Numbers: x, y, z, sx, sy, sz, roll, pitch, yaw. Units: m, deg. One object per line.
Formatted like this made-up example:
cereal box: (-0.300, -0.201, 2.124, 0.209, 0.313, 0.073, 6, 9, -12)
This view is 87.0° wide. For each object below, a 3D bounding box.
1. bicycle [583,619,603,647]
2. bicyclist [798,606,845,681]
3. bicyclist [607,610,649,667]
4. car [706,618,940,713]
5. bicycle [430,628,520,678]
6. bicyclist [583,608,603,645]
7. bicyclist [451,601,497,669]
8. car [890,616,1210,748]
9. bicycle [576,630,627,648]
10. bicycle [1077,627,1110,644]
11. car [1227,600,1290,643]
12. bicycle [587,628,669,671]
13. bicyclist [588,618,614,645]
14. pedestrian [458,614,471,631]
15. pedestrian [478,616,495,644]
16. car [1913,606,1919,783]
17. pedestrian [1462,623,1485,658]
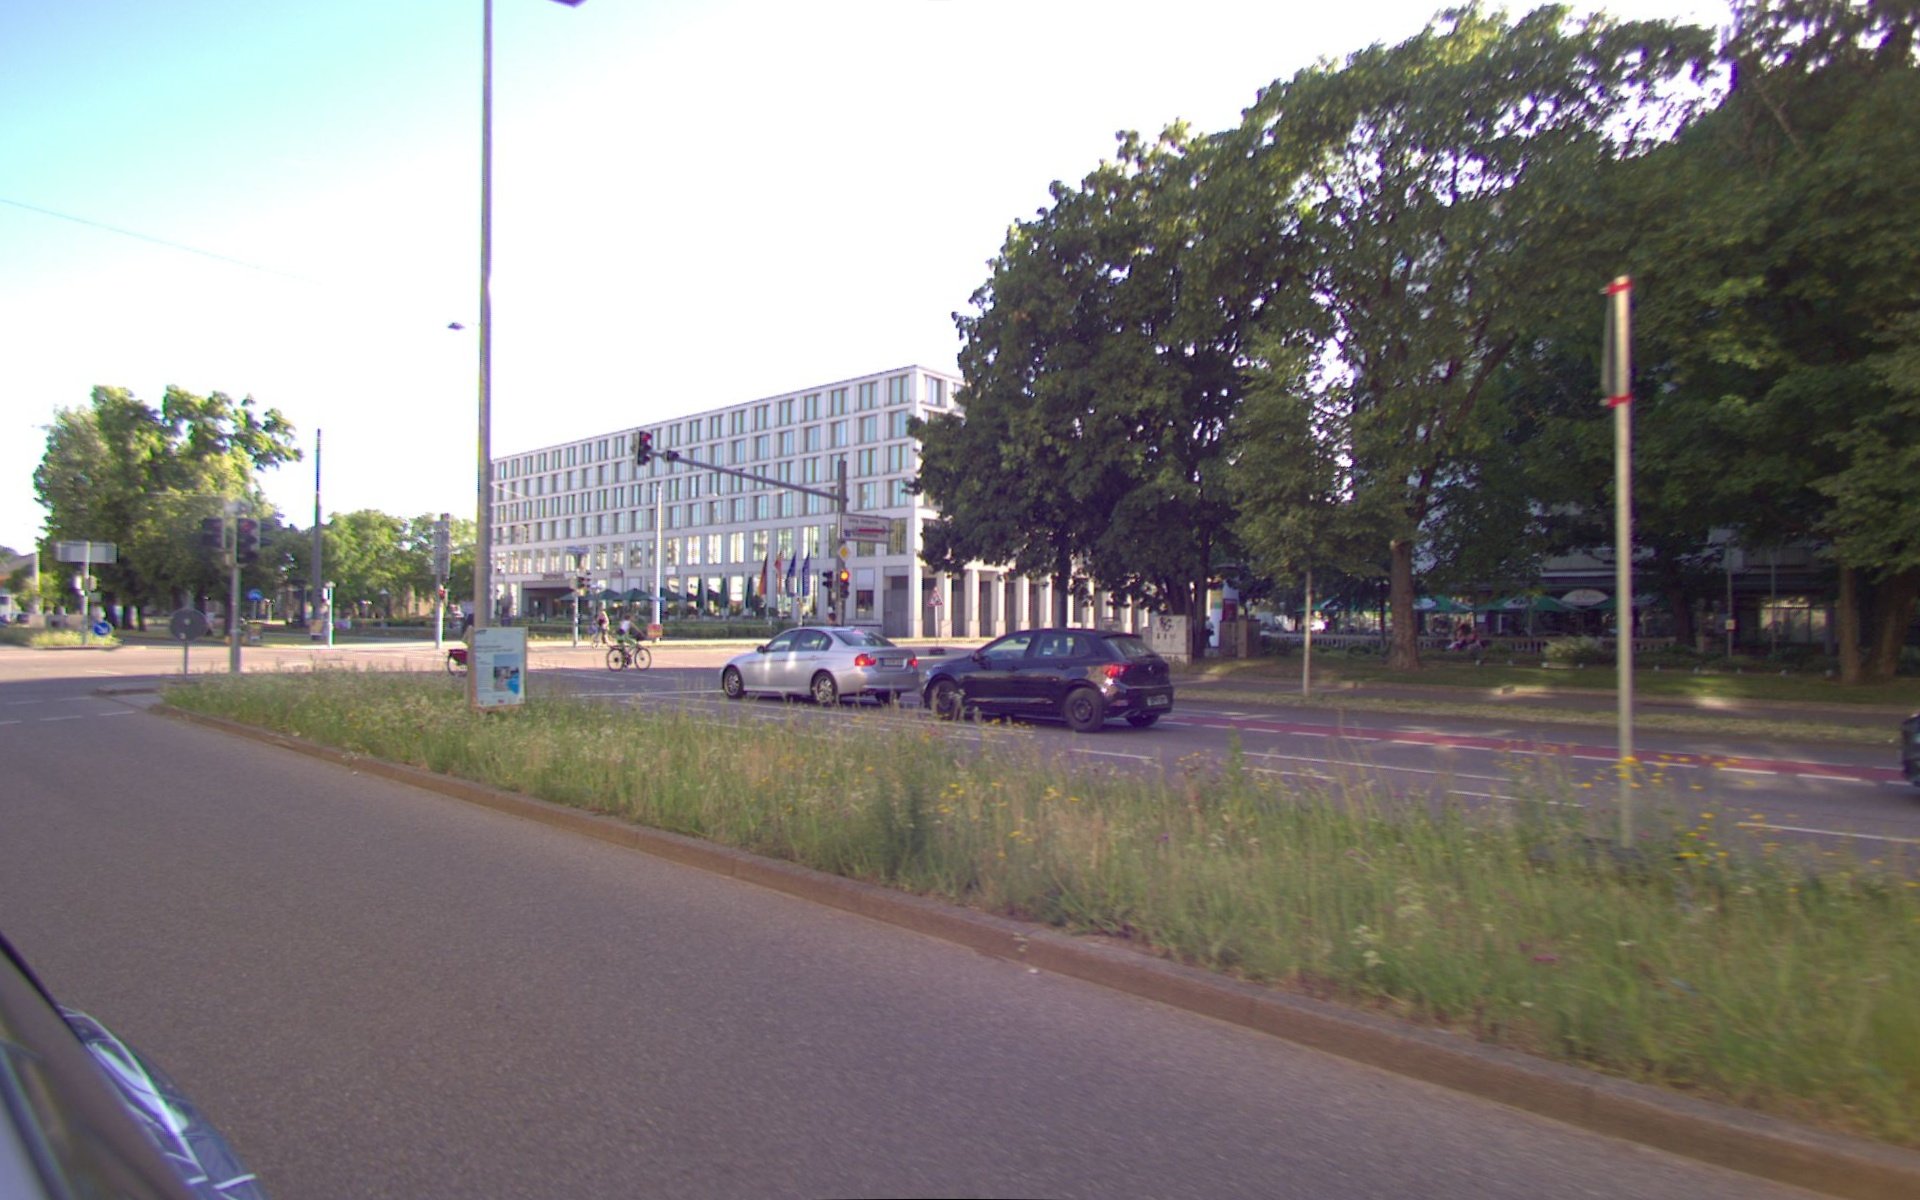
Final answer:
bicycle: (-16.608, 1.494, 45.803, 0.832, 1.240, 2.021, 1, -1, -19)
bicyclist: (-3.203, 1.007, 23.402, 0.771, 1.692, 0.841, 2, -2, -34)
bicyclist: (-10.135, 1.159, 30.890, 0.775, 1.703, 0.912, 1, 0, 42)
car: (-2.699, 1.148, 19.259, 4.548, 1.572, 1.972, -1, -2, 42)
bicycle: (-12.872, 1.372, 26.883, 0.778, 1.249, 1.993, 1, 0, 41)
bicyclist: (-16.596, 1.203, 45.770, 0.837, 1.631, 0.976, 1, -1, -19)
bicyclist: (-12.892, 0.917, 26.848, 0.754, 1.756, 0.827, 1, -1, 42)
car: (1.237, 1.098, 15.236, 4.548, 1.688, 1.972, -1, -2, 42)
bicycle: (-18.257, 1.978, 51.560, 0.843, 0.858, 2.303, -1, -2, 41)
bicycle: (7.277, 1.910, 55.105, 1.601, 0.896, 0.761, -1, -2, 34)
car: (21.272, 1.528, 71.996, 2.597, 2.975, 5.022, -1, -2, 39)
bicycle: (-10.127, 1.488, 30.913, 0.778, 1.249, 2.280, 1, 0, 41)
bicyclist: (-18.294, 1.611, 51.509, 0.826, 1.372, 0.959, -1, -2, 42)
pedestrian: (-46.342, 2.128, 94.651, 0.762, 1.537, 0.774, -1, -2, 42)
pedestrian: (-25.931, 1.645, 55.381, 0.602, 1.537, 0.616, -1, -2, 37)
car: (9.979, 0.824, 7.579, 4.060, 1.576, 1.972, -1, -2, 42)
pedestrian: (20.348, 1.592, 40.103, 0.600, 1.350, 0.723, -1, -2, 45)
